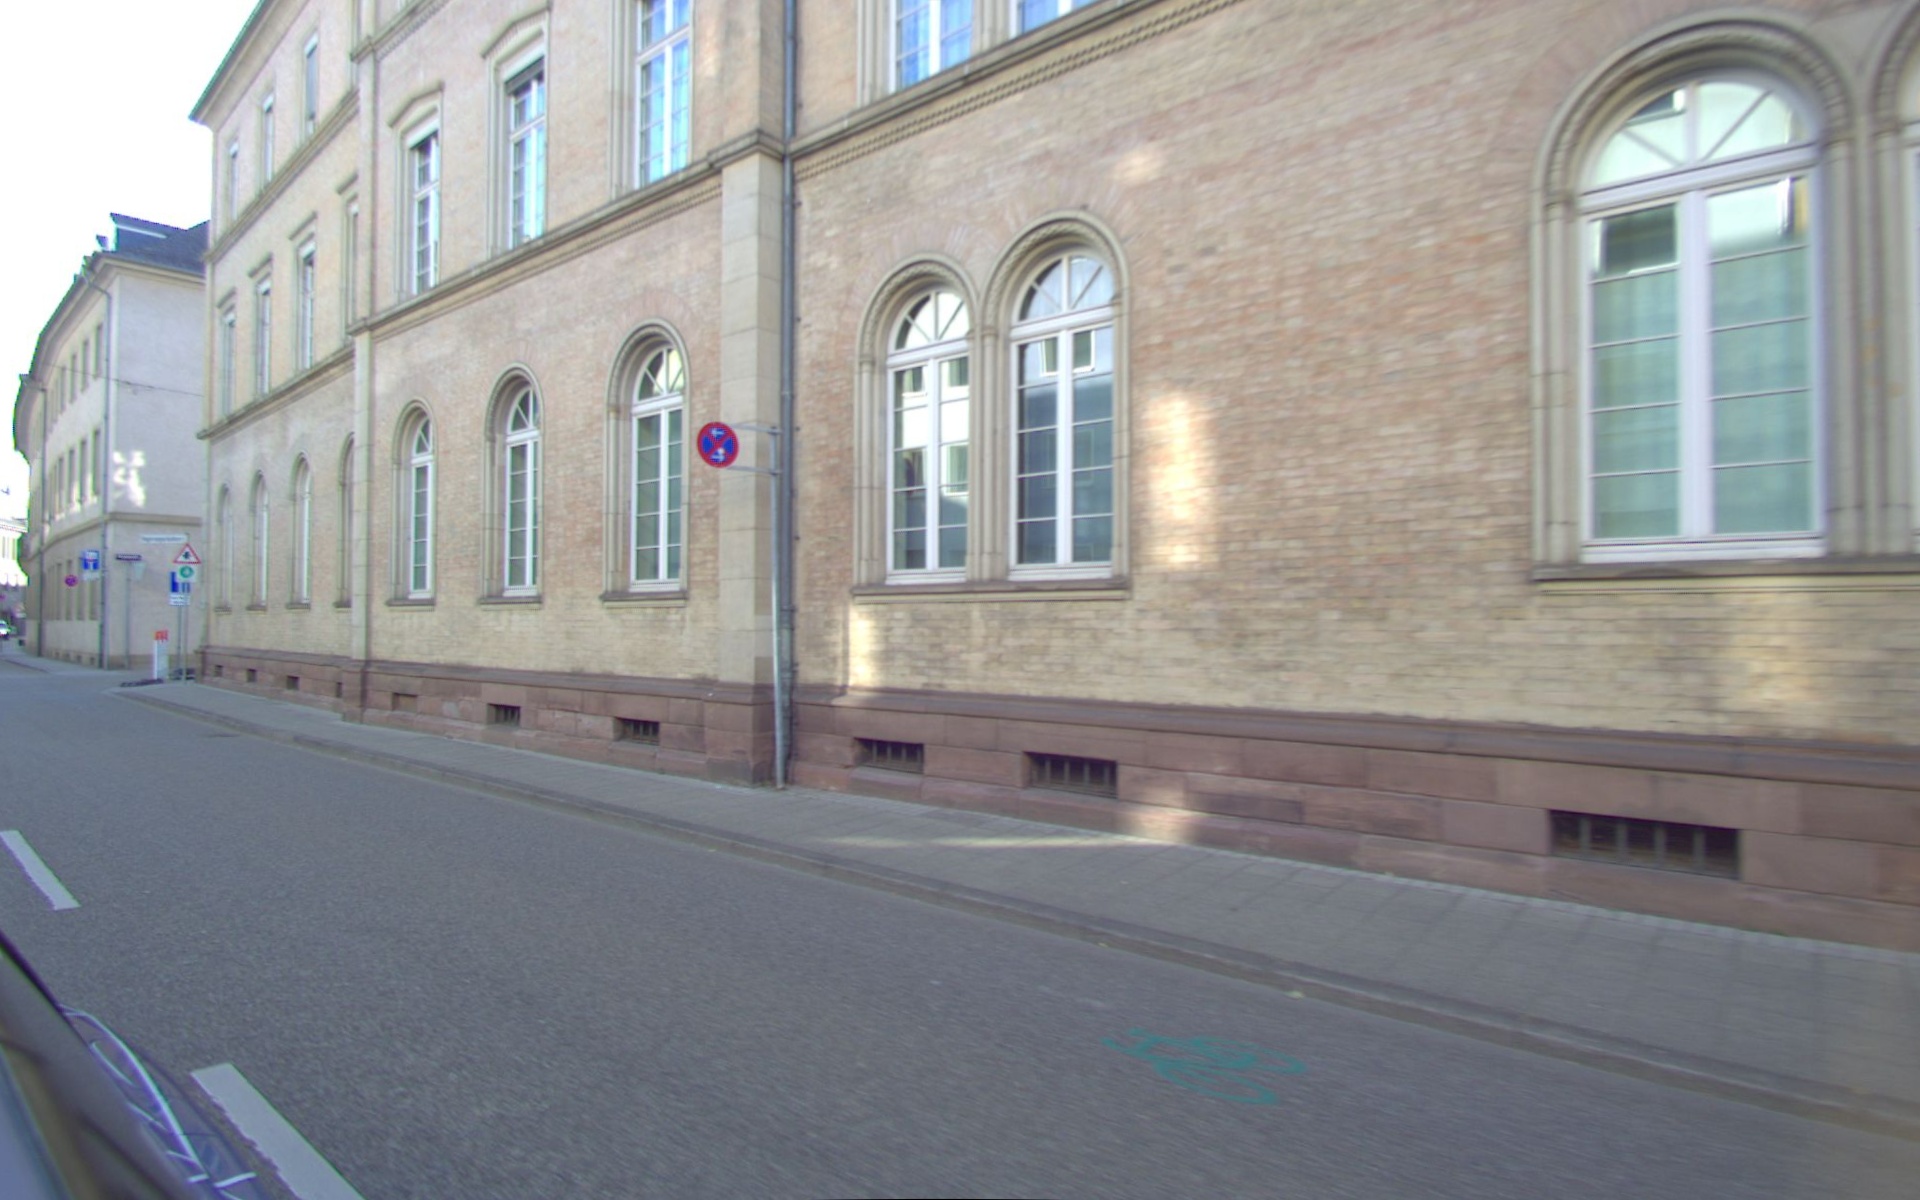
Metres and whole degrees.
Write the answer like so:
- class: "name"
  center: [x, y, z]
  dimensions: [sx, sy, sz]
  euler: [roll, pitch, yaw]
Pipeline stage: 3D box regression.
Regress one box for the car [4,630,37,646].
- class: "car"
  center: [-102.853, 4.174, 110.792]
  dimensions: [1.747, 1.595, 3.868]
  euler: [-4, 1, -30]
